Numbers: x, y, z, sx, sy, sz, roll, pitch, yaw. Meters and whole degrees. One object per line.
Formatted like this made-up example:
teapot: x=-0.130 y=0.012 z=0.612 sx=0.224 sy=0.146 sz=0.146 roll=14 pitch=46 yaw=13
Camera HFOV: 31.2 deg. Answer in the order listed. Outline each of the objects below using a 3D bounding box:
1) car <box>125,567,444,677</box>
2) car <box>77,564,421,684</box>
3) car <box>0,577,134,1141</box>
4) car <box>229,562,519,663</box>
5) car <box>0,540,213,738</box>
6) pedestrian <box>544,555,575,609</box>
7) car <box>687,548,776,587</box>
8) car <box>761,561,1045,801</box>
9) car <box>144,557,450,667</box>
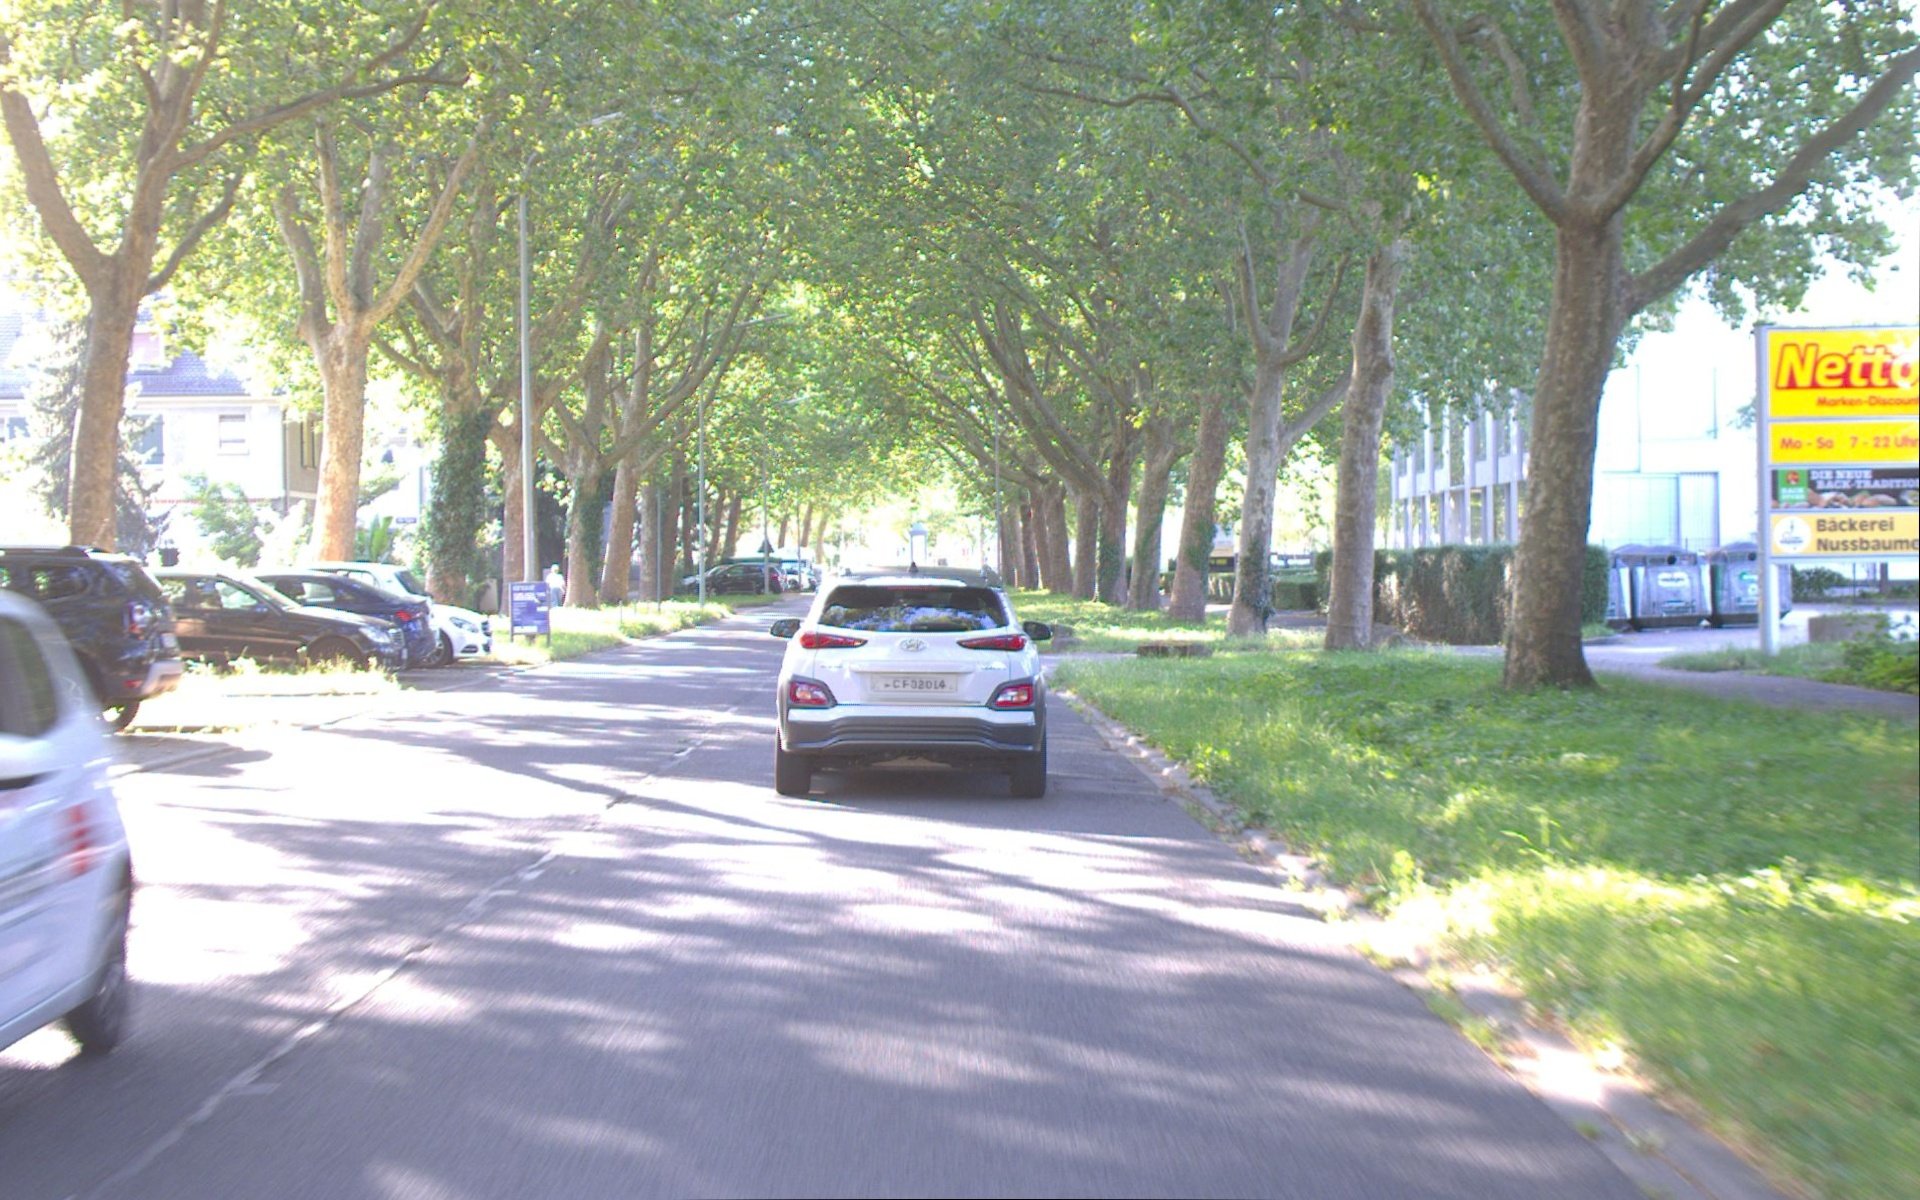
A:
car: x=-8.923 y=0.281 z=45.674 sx=3.986 sy=1.419 sz=1.809 roll=0 pitch=1 yaw=-5
car: x=-8.878 y=0.286 z=43.158 sx=3.986 sy=1.465 sz=1.781 roll=0 pitch=1 yaw=-2
car: x=-3.280 y=0.681 z=9.161 sx=1.535 sy=1.454 sz=3.185 roll=0 pitch=1 yaw=-3
car: x=-8.670 y=0.176 z=51.051 sx=3.987 sy=1.465 sz=1.809 roll=0 pitch=1 yaw=1
car: x=-8.795 y=0.325 z=29.873 sx=4.243 sy=1.674 sz=1.671 roll=0 pitch=1 yaw=-1
pedestrian: x=-12.757 y=-0.566 z=109.446 sx=0.749 sy=1.702 sz=0.793 roll=0 pitch=0 yaw=-25
car: x=-10.497 y=-1.486 z=157.689 sx=3.986 sy=1.766 sz=2.000 roll=0 pitch=0 yaw=-5
car: x=-0.404 y=0.514 z=24.304 sx=1.835 sy=1.550 sz=4.000 roll=0 pitch=0 yaw=-1
car: x=-9.275 y=0.149 z=48.318 sx=3.986 sy=1.515 sz=1.809 roll=0 pitch=1 yaw=-2
